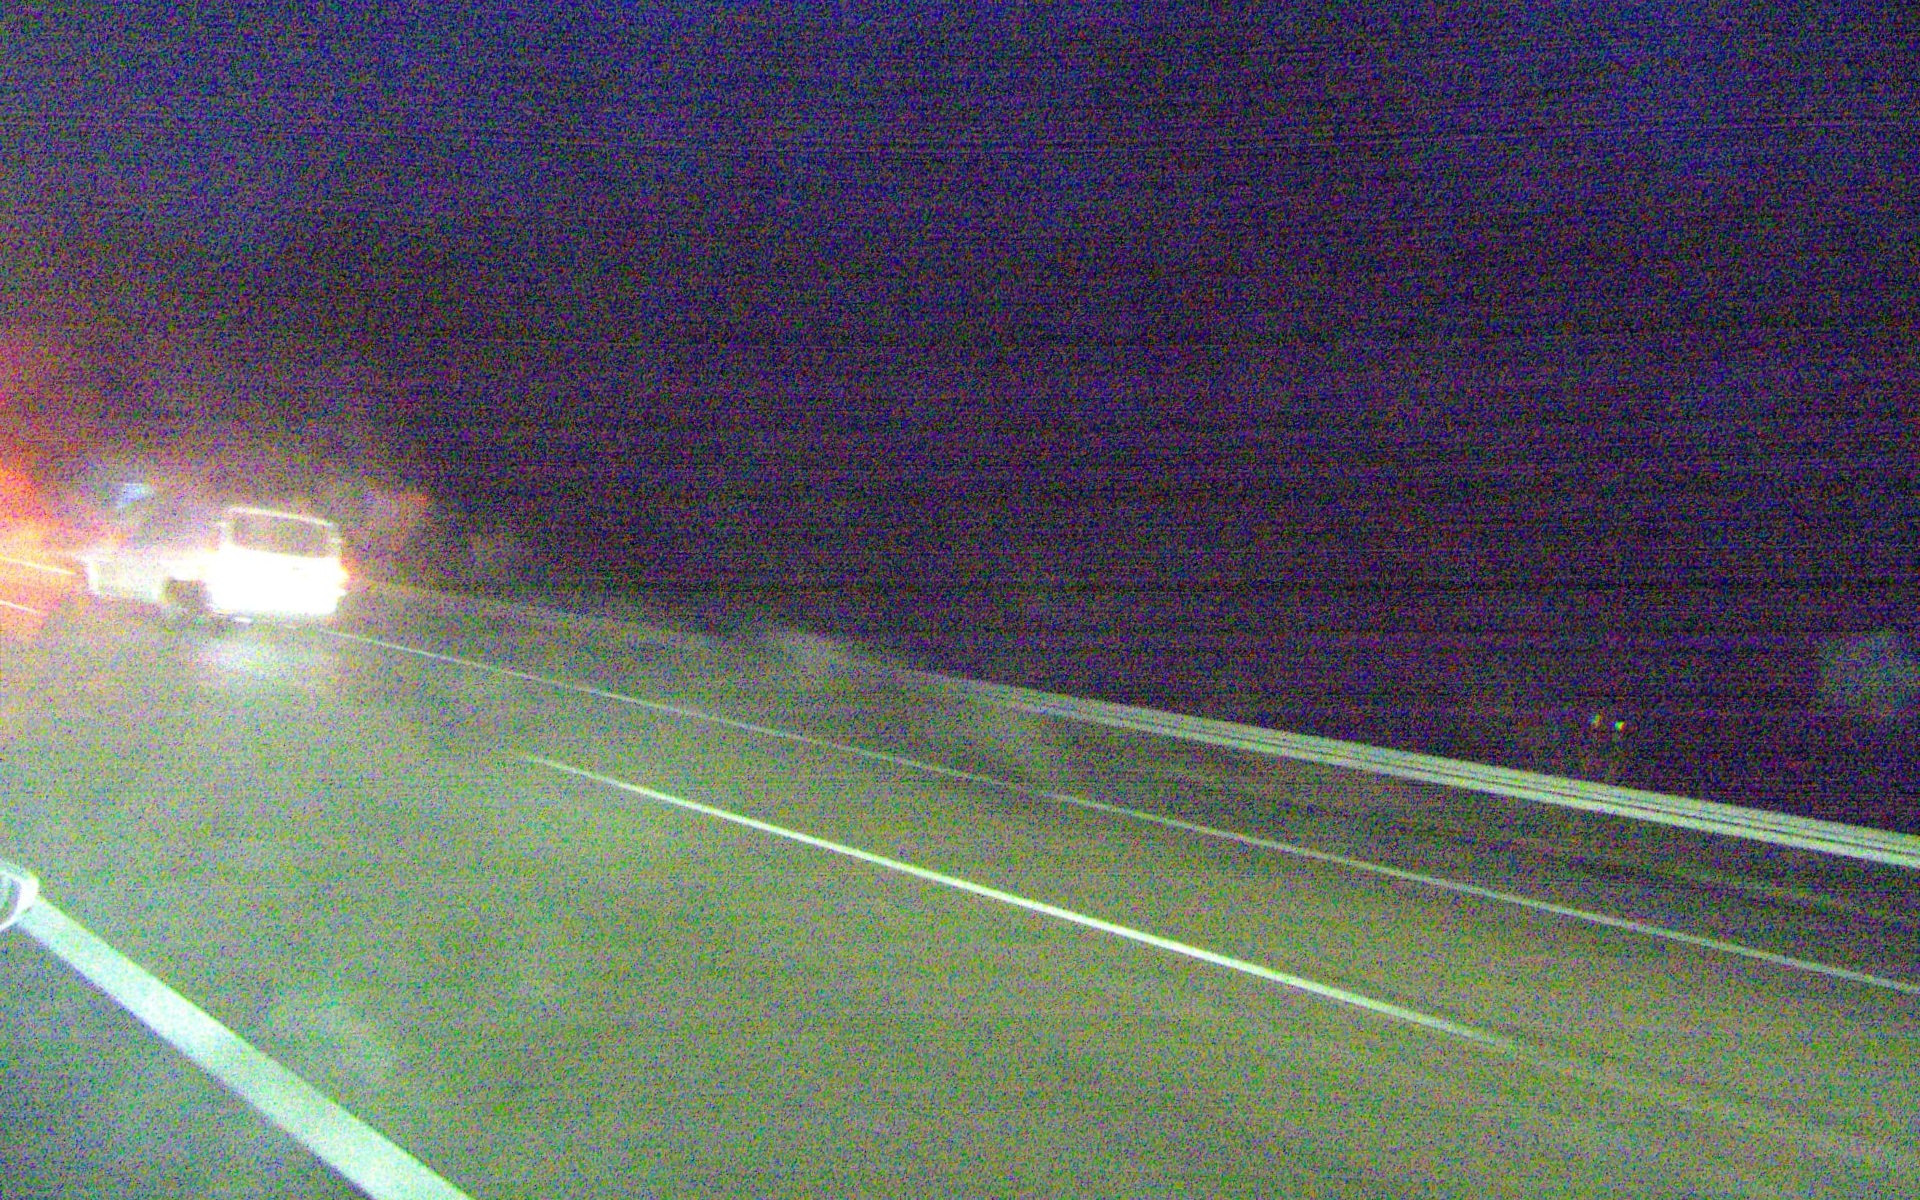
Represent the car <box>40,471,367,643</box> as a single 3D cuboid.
[{"bbox_3d":[-11.805,-0.706,15.597,5.315,1.998,2.049,7,0,31],"label":"car"}]
